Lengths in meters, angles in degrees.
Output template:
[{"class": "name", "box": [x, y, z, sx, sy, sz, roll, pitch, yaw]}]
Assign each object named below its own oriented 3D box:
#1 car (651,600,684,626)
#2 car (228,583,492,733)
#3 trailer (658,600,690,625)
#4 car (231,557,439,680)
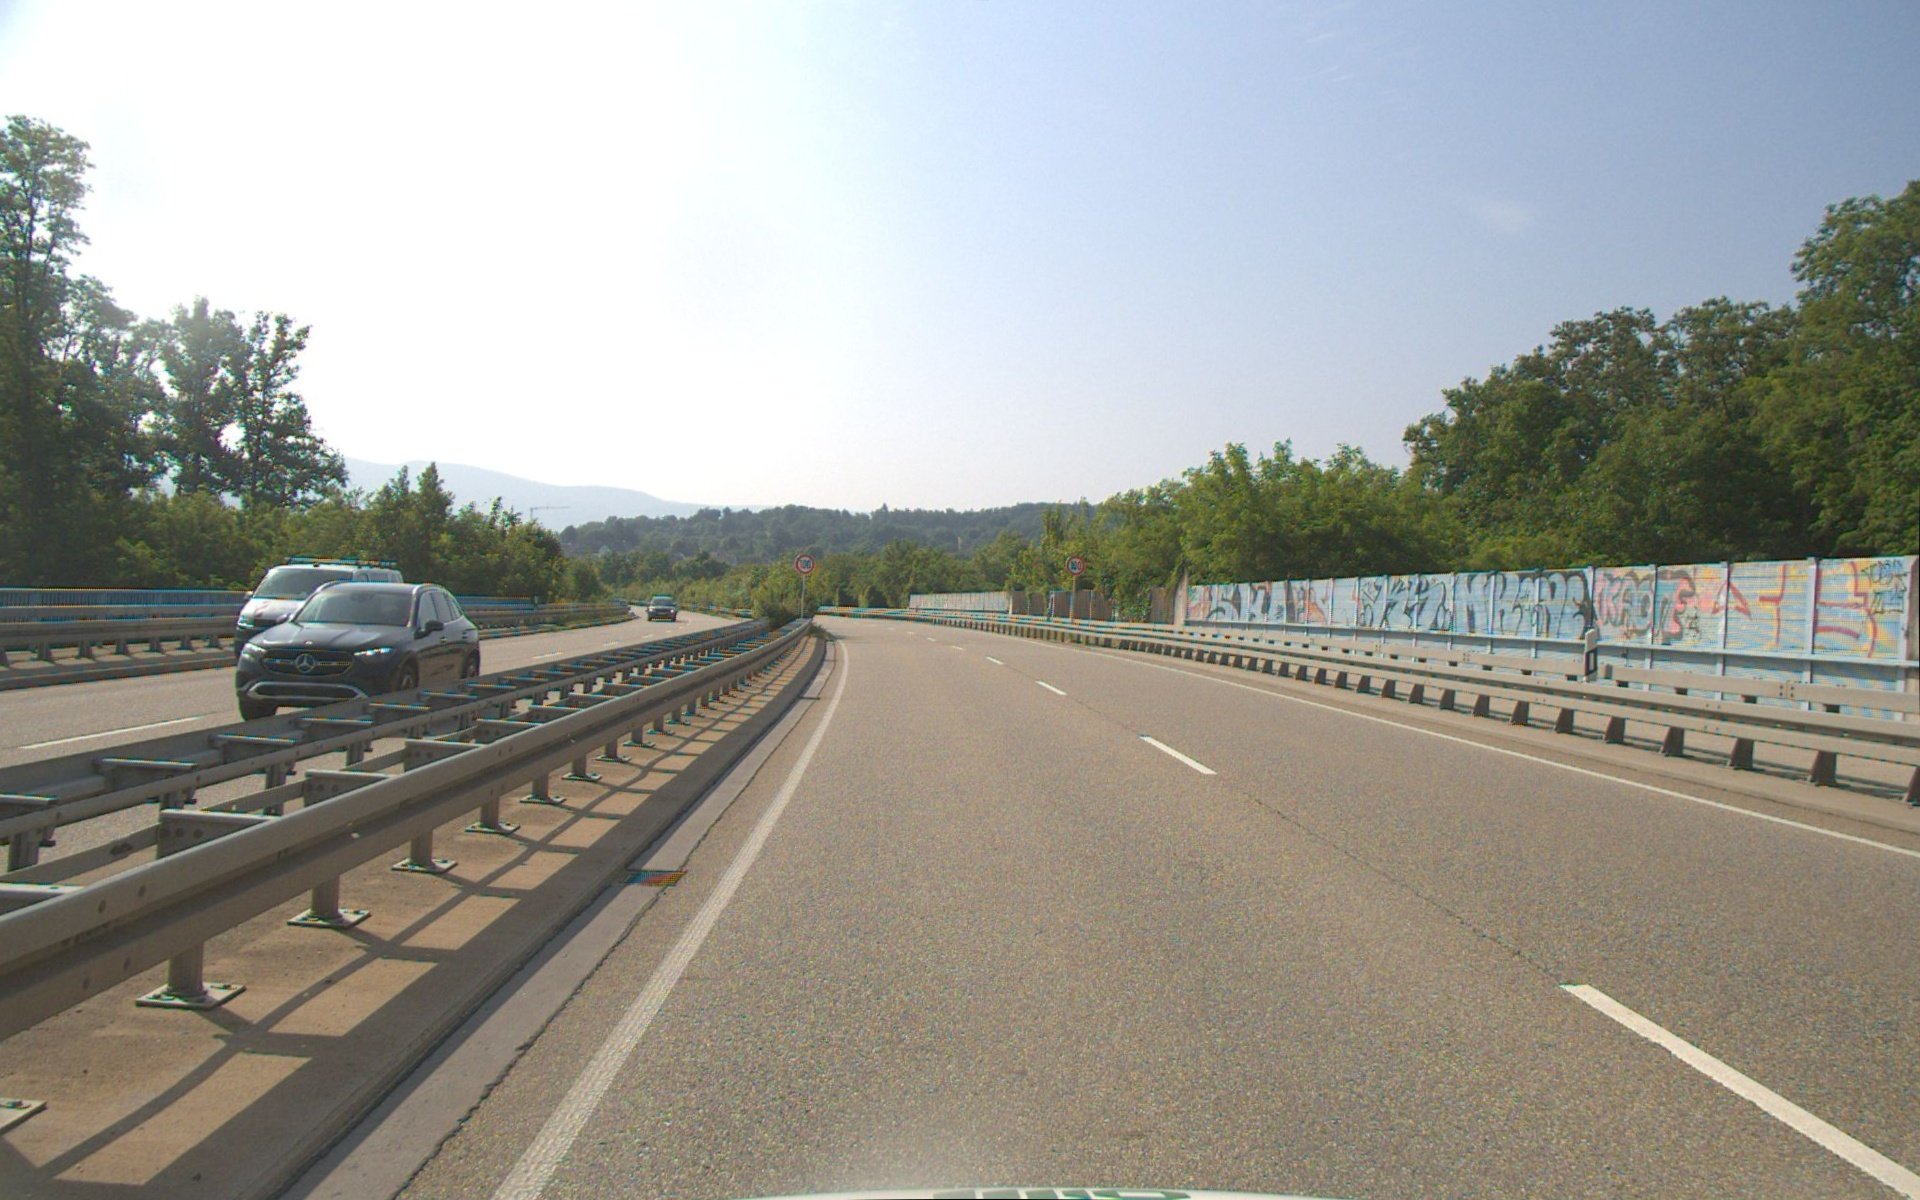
[{"class": "car", "box": [-19.342, 0.850, 109.540, 1.690, 1.624, 3.996, 2, 0, -5]}, {"class": "car", "box": [-7.365, 0.642, 20.798, 1.827, 1.635, 4.416, 2, 0, -3]}, {"class": "trailer", "box": [-19.708, 0.857, 113.950, 1.685, 1.606, 4.807, 2, 0, -5]}, {"class": "car", "box": [-11.419, 0.297, 30.679, 1.998, 2.041, 5.305, 2, 0, -3]}]
